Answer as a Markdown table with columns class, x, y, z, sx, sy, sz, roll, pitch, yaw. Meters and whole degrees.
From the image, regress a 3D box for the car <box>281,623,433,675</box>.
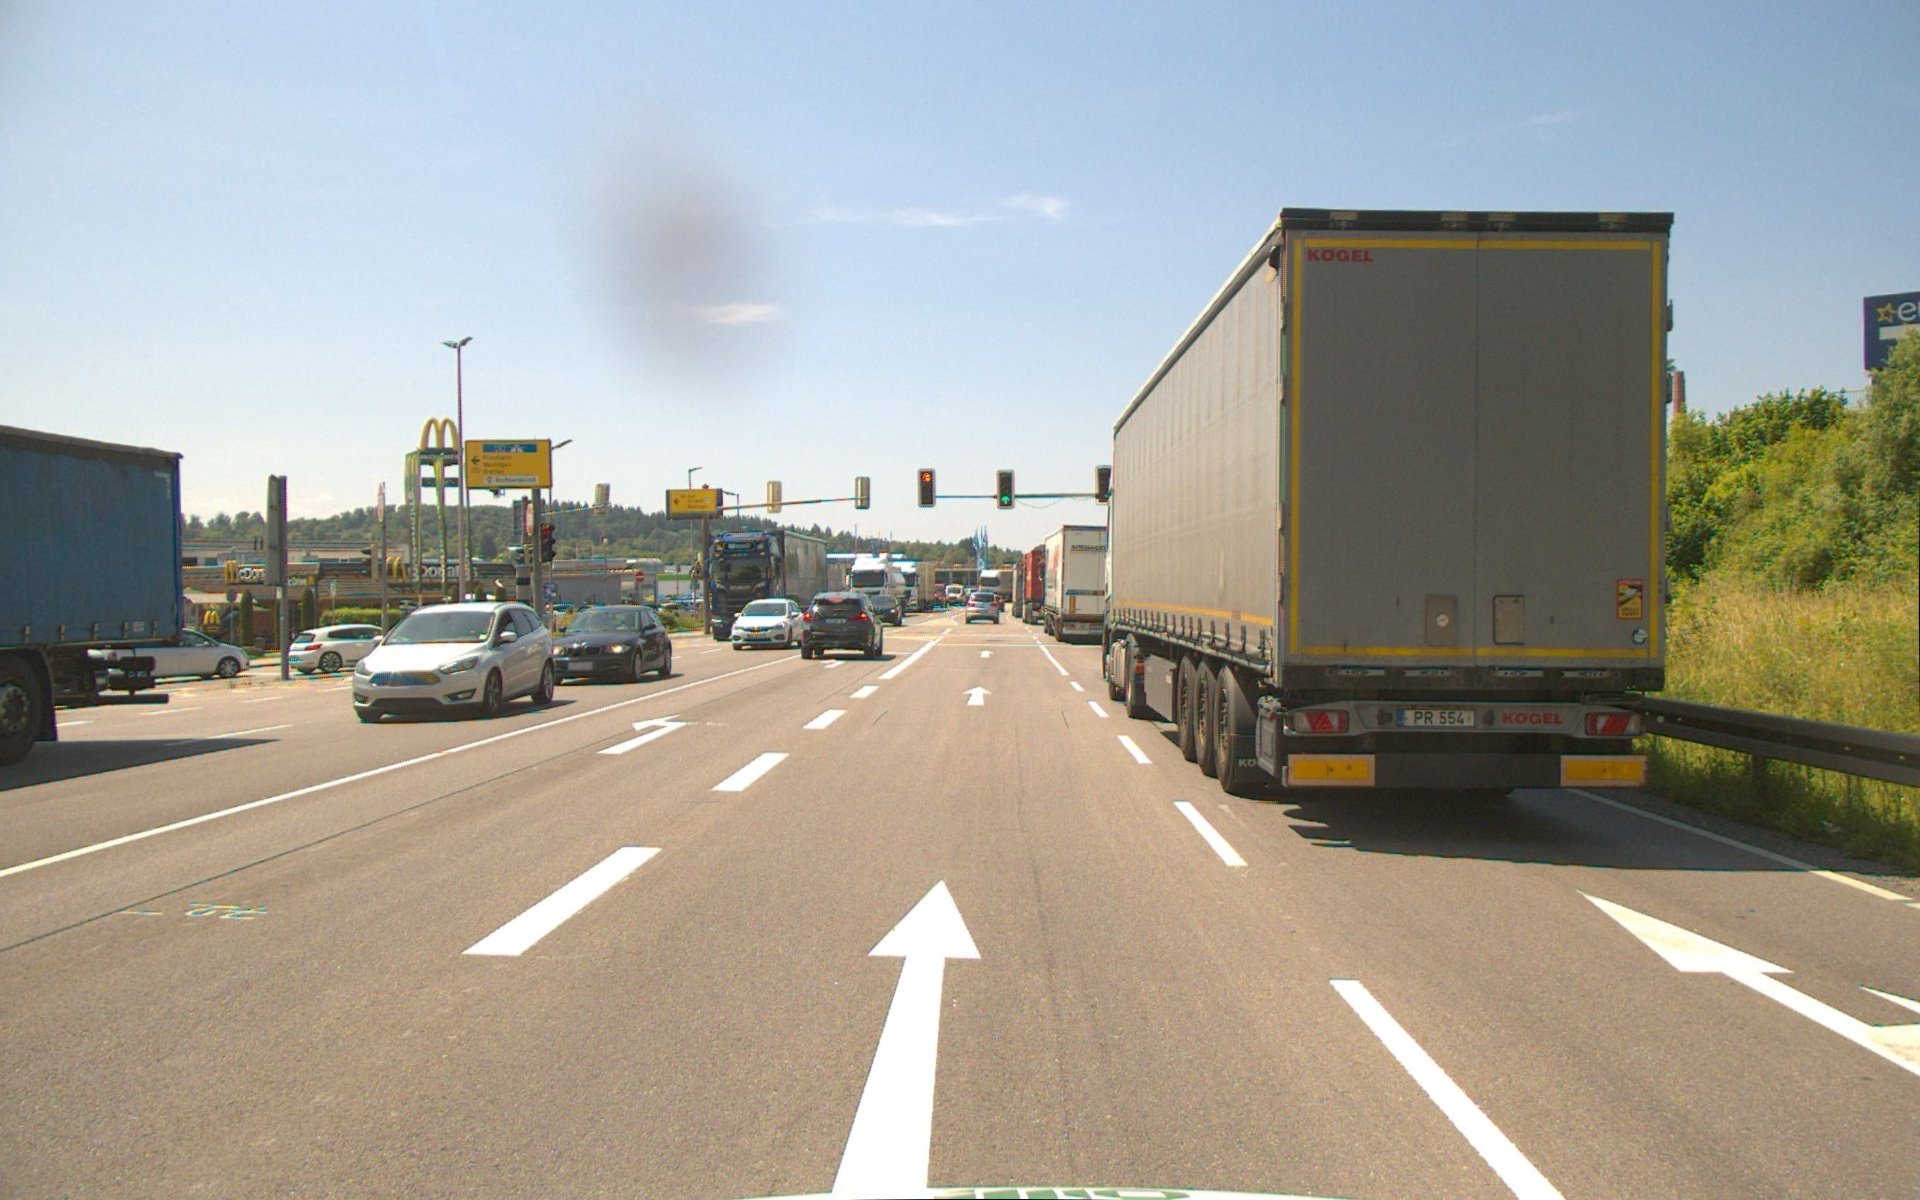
| class | x | y | z | sx | sy | sz | roll | pitch | yaw |
| --- | --- | --- | --- | --- | --- | --- | --- | --- | --- |
| car | -18.326 | 1.470 | 50.392 | 1.759 | 1.506 | 3.987 | 0 | -2 | 43 |

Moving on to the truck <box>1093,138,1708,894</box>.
| class | x | y | z | sx | sy | sz | roll | pitch | yaw |
| --- | --- | --- | --- | --- | --- | --- | --- | --- | --- |
| truck | 3.441 | -0.387 | 18.698 | 2.699 | 4.720 | 16.654 | 1 | -1 | 1 |

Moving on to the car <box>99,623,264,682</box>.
| class | x | y | z | sx | sy | sz | roll | pitch | yaw |
| --- | --- | --- | --- | --- | --- | --- | --- | --- | --- |
| car | -23.305 | 1.544 | 49.637 | 1.718 | 1.629 | 4.175 | -1 | 0 | 40 |

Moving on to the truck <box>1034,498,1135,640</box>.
| class | x | y | z | sx | sy | sz | roll | pitch | yaw |
| --- | --- | --- | --- | --- | --- | --- | --- | --- | --- |
| truck | 4.546 | -0.895 | 63.708 | 2.816 | 4.720 | 16.654 | 1 | -1 | 1 |

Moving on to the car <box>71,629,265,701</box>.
| class | x | y | z | sx | sy | sz | roll | pitch | yaw |
| --- | --- | --- | --- | --- | --- | --- | --- | --- | --- |
| car | -21.304 | 1.714 | 44.622 | 1.718 | 1.628 | 4.387 | -2 | 1 | 41 |

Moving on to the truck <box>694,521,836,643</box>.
| class | x | y | z | sx | sy | sz | roll | pitch | yaw |
| --- | --- | --- | --- | --- | --- | --- | --- | --- | --- |
| truck | -7.837 | -0.689 | 69.654 | 3.080 | 4.425 | 17.548 | -1 | 0 | 3 |

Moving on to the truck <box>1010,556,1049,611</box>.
| class | x | y | z | sx | sy | sz | roll | pitch | yaw |
| --- | --- | --- | --- | --- | --- | --- | --- | --- | --- |
| truck | 5.064 | -1.143 | 121.744 | 2.554 | 3.782 | 9.449 | 1 | -1 | 1 |

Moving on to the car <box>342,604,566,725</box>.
| class | x | y | z | sx | sy | sz | roll | pitch | yaw |
| --- | --- | --- | --- | --- | --- | --- | --- | --- | --- |
| car | -6.790 | 0.808 | 22.679 | 1.752 | 1.451 | 4.263 | -2 | 0 | 0 |

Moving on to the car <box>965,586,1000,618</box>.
| class | x | y | z | sx | sy | sz | roll | pitch | yaw |
| --- | --- | --- | --- | --- | --- | --- | --- | --- | --- |
| car | 1.273 | 0.112 | 90.817 | 1.767 | 1.699 | 4.293 | 1 | 0 | 3 |

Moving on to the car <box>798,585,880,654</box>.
| class | x | y | z | sx | sy | sz | roll | pitch | yaw |
| --- | --- | --- | --- | --- | --- | --- | --- | --- | --- |
| car | -3.023 | 0.472 | 42.114 | 1.757 | 1.655 | 4.369 | -1 | 0 | 0 |

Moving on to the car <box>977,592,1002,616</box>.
| class | x | y | z | sx | sy | sz | roll | pitch | yaw |
| --- | --- | --- | --- | --- | --- | --- | --- | --- | --- |
| car | 2.634 | 0.368 | 145.090 | 1.951 | 2.049 | 4.002 | -1 | 0 | 4 |

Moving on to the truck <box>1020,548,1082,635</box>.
| class | x | y | z | sx | sy | sz | roll | pitch | yaw |
| --- | --- | --- | --- | --- | --- | --- | --- | --- | --- |
| truck | 5.112 | -0.311 | 95.322 | 2.816 | 4.557 | 16.654 | 1 | -1 | 1 |

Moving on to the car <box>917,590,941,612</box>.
| class | x | y | z | sx | sy | sz | roll | pitch | yaw |
| --- | --- | --- | --- | --- | --- | --- | --- | --- | --- |
| car | -3.001 | 0.139 | 162.030 | 1.951 | 2.049 | 4.002 | 1 | -1 | 4 |

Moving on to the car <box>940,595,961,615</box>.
| class | x | y | z | sx | sy | sz | roll | pitch | yaw |
| --- | --- | --- | --- | --- | --- | --- | --- | --- | --- |
| car | -1.013 | 0.543 | 179.073 | 1.865 | 2.049 | 4.002 | 1 | -1 | 4 |

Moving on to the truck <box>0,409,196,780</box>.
| class | x | y | z | sx | sy | sz | roll | pitch | yaw |
| --- | --- | --- | --- | --- | --- | --- | --- | --- | --- |
| truck | -10.272 | -0.056 | 13.159 | 2.787 | 3.410 | 11.484 | 0 | 0 | 2 |

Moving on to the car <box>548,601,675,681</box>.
| class | x | y | z | sx | sy | sz | roll | pitch | yaw |
| --- | --- | --- | --- | --- | --- | --- | --- | --- | --- |
| car | -6.602 | 0.737 | 31.671 | 1.628 | 1.428 | 4.016 | -1 | 0 | -1 |

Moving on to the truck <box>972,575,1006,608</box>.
| class | x | y | z | sx | sy | sz | roll | pitch | yaw |
| --- | --- | --- | --- | --- | --- | --- | --- | --- | --- |
| truck | 3.892 | -1.009 | 219.476 | 3.201 | 4.019 | 13.873 | 0 | -1 | 6 |

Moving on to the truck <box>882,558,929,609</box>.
| class | x | y | z | sx | sy | sz | roll | pitch | yaw |
| --- | --- | --- | --- | --- | --- | --- | --- | --- | --- |
| truck | -4.487 | -1.313 | 139.661 | 2.873 | 4.019 | 13.869 | -1 | 0 | 3 |

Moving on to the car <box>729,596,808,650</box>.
| class | x | y | z | sx | sy | sz | roll | pitch | yaw |
| --- | --- | --- | --- | --- | --- | --- | --- | --- | --- |
| car | -5.826 | 0.722 | 50.785 | 1.704 | 1.530 | 4.407 | -2 | -1 | 2 |

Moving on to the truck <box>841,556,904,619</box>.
| class | x | y | z | sx | sy | sz | roll | pitch | yaw |
| --- | --- | --- | --- | --- | --- | --- | --- | --- | --- |
| truck | -5.926 | -0.854 | 114.726 | 2.873 | 4.018 | 14.242 | -2 | 0 | 2 |

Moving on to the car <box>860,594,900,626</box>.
| class | x | y | z | sx | sy | sz | roll | pitch | yaw |
| --- | --- | --- | --- | --- | --- | --- | --- | --- | --- |
| car | -3.951 | 0.488 | 82.467 | 1.629 | 1.535 | 3.906 | -1 | 0 | 2 |

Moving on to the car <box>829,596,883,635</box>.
| class | x | y | z | sx | sy | sz | roll | pitch | yaw |
| --- | --- | --- | --- | --- | --- | --- | --- | --- | --- |
| car | -4.288 | 0.640 | 68.715 | 1.773 | 1.535 | 4.947 | -1 | 0 | 1 |
